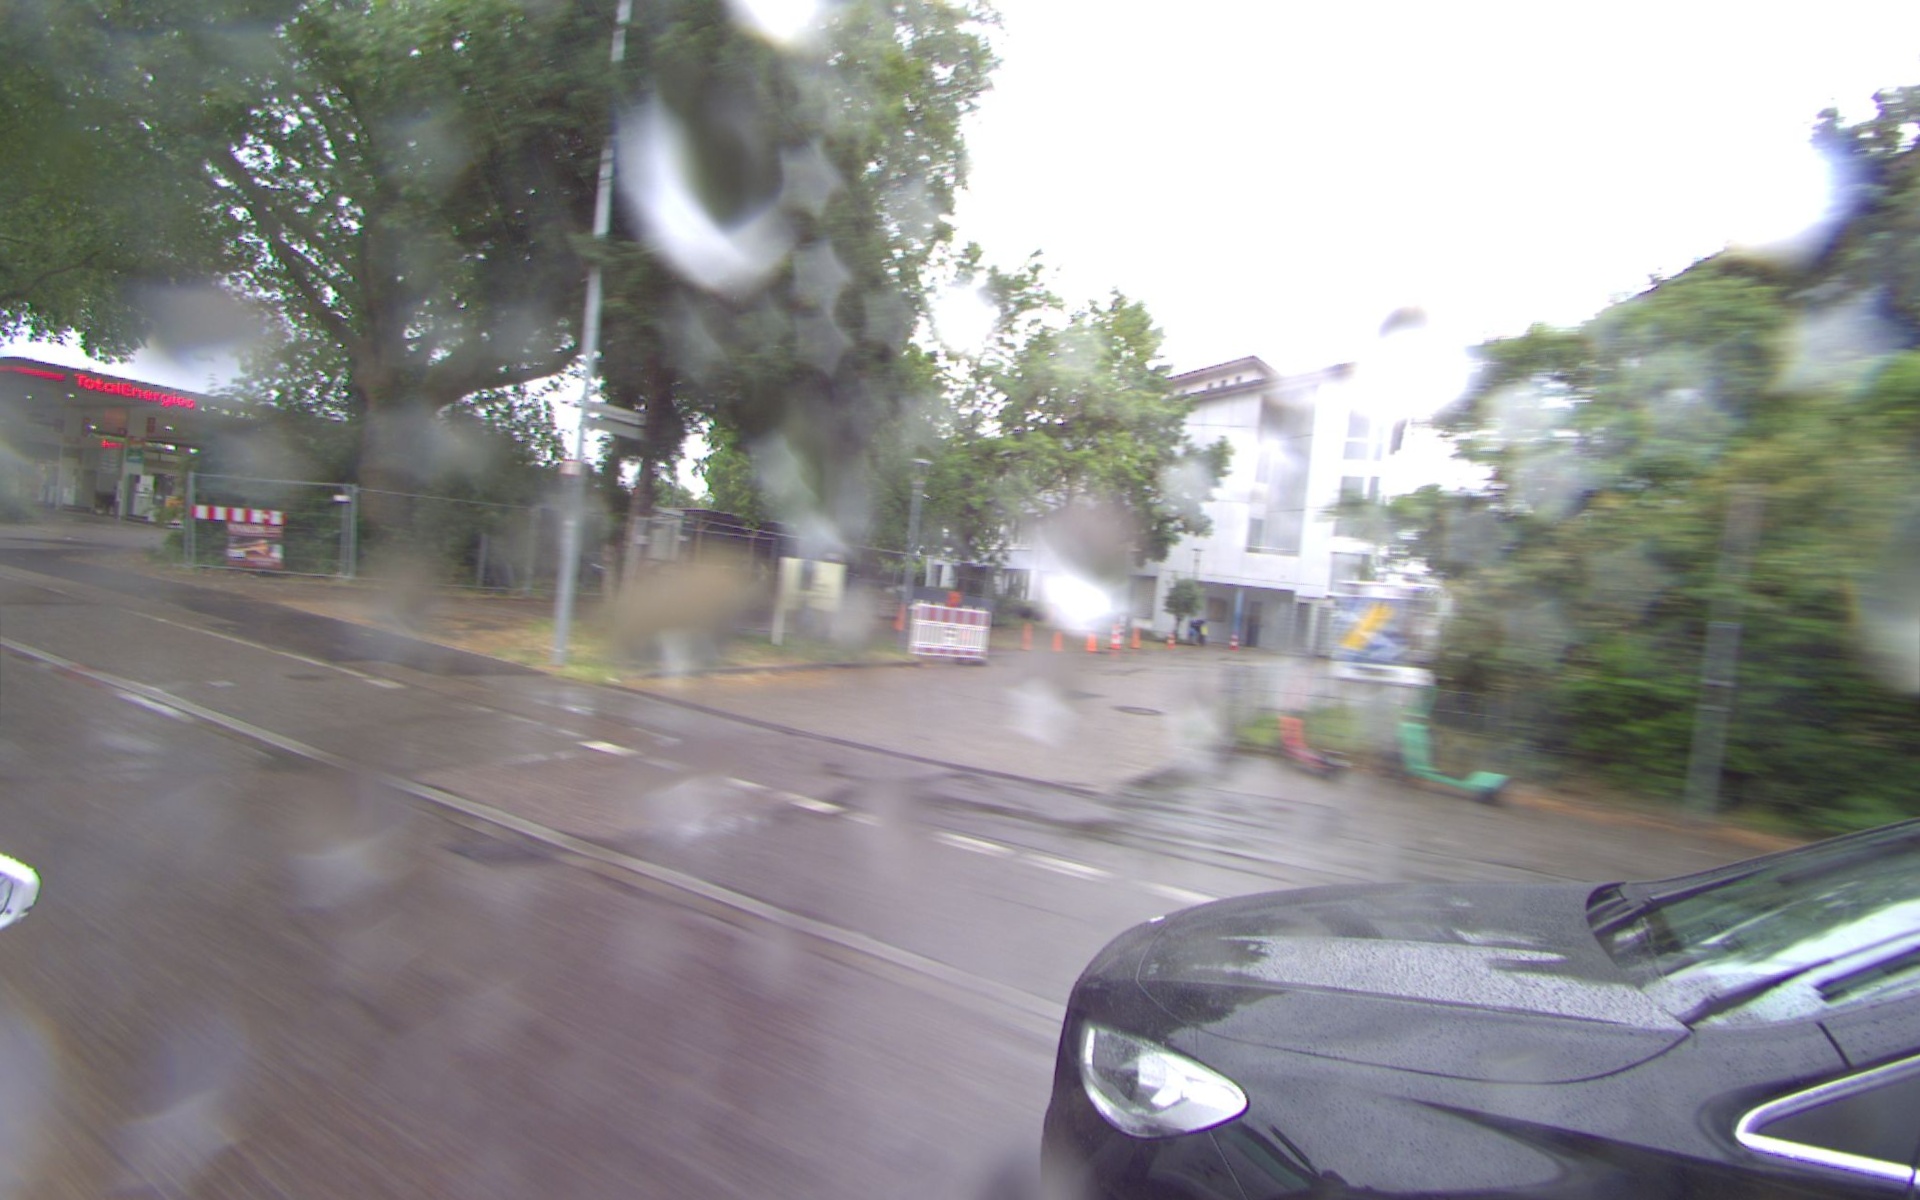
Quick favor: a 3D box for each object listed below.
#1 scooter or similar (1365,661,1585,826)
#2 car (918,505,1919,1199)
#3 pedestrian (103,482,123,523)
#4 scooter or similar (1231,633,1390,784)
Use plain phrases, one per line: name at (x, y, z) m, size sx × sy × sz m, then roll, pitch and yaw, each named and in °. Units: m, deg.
scooter or similar at (4.710, 1.257, 9.276) m, size 0.766 × 1.195 × 1.529 m, roll 2°, pitch 4°, yaw -41°
car at (2.156, 0.841, 1.592) m, size 4.018 × 1.543 × 1.872 m, roll 7°, pitch 1°, yaw 30°
pedestrian at (-37.234, -4.289, 44.218) m, size 0.551 × 1.748 × 0.717 m, roll 4°, pitch 3°, yaw -40°
scooter or similar at (3.556, 1.063, 10.360) m, size 0.699 × 1.329 × 1.551 m, roll 1°, pitch 3°, yaw -18°
